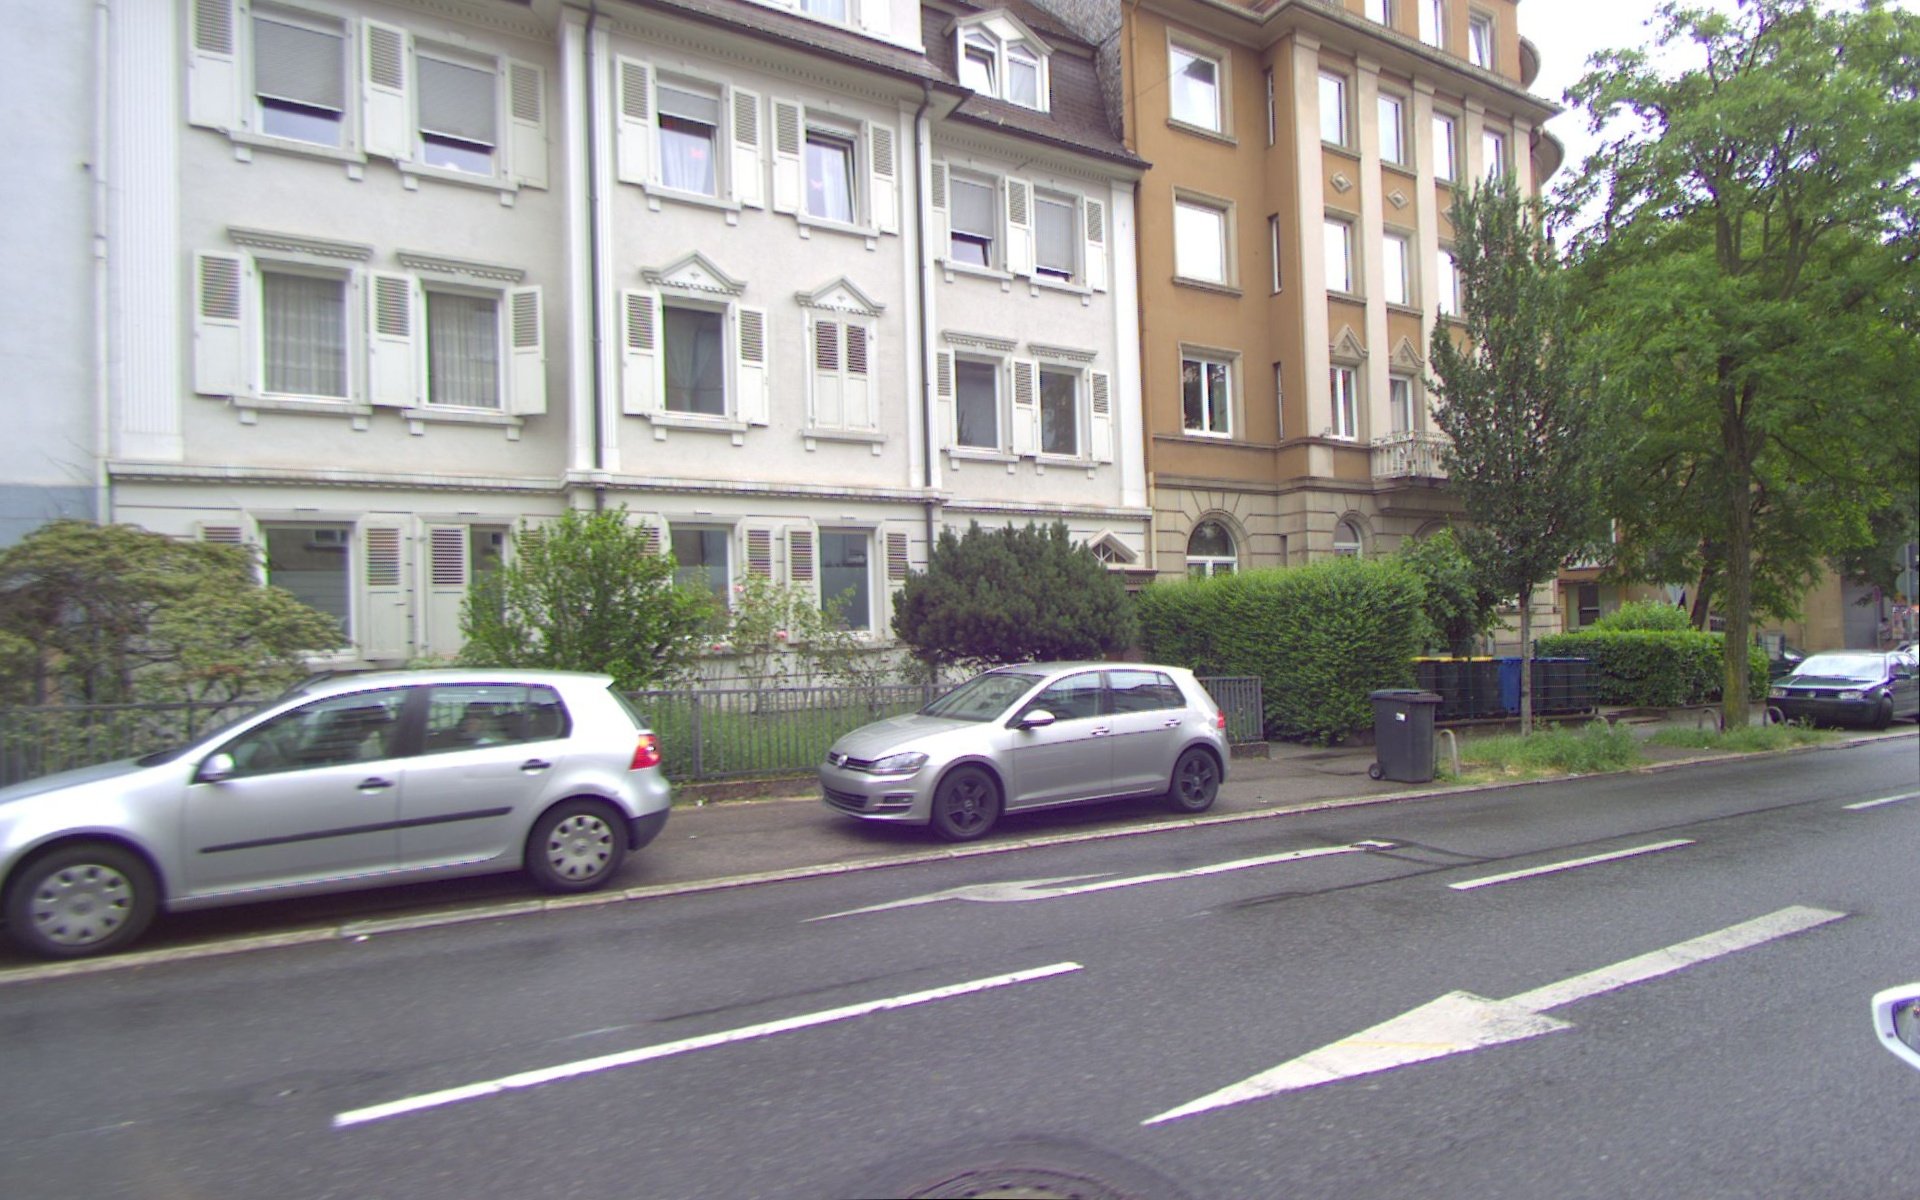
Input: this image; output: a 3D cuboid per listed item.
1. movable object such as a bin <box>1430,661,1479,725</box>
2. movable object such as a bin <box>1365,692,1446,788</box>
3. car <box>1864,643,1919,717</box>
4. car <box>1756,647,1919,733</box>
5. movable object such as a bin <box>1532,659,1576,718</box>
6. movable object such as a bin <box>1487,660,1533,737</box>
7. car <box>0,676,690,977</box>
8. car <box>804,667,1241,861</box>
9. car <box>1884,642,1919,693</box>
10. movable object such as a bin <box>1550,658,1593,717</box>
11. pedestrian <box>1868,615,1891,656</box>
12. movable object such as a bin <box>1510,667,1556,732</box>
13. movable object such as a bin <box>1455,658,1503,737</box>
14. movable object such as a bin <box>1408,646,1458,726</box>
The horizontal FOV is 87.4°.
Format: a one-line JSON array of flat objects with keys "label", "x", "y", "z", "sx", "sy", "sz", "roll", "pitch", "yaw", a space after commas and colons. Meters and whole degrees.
[{"label": "movable object such as a bin", "x": 8.453, "y": 1.581, "z": 17.173, "sx": 0.642, "sy": 1.053, "sz": 0.437, "roll": 1, "pitch": -3, "yaw": -31}, {"label": "movable object such as a bin", "x": 5.256, "y": 1.635, "z": 11.873, "sx": 0.593, "sy": 1.071, "sz": 0.627, "roll": 2, "pitch": -4, "yaw": -30}, {"label": "car", "x": 21.005, "y": 1.661, "z": 21.472, "sx": 3.800, "sy": 1.473, "sz": 1.622, "roll": 1, "pitch": -3, "yaw": -34}, {"label": "car", "x": 17.135, "y": 1.663, "z": 19.307, "sx": 3.899, "sy": 1.473, "sz": 1.645, "roll": 1, "pitch": -3, "yaw": -32}, {"label": "movable object such as a bin", "x": 11.084, "y": 1.642, "z": 18.744, "sx": 0.643, "sy": 1.054, "sz": 0.424, "roll": 1, "pitch": -3, "yaw": -31}, {"label": "movable object such as a bin", "x": 9.844, "y": 1.748, "z": 17.973, "sx": 0.602, "sy": 1.325, "sz": 0.437, "roll": 1, "pitch": -3, "yaw": -31}, {"label": "car", "x": -3.958, "y": 1.295, "z": 6.755, "sx": 3.862, "sy": 1.408, "sz": 1.675, "roll": 1, "pitch": -2, "yaw": -30}, {"label": "car", "x": 0.645, "y": 1.392, "z": 9.541, "sx": 3.889, "sy": 1.408, "sz": 1.675, "roll": 1, "pitch": -2, "yaw": -30}, {"label": "car", "x": 27.734, "y": 1.851, "z": 27.117, "sx": 1.722, "sy": 1.408, "sz": 3.798, "roll": 2, "pitch": -3, "yaw": -30}, {"label": "movable object such as a bin", "x": 11.643, "y": 1.649, "z": 19.124, "sx": 0.583, "sy": 1.095, "sz": 0.437, "roll": 1, "pitch": -3, "yaw": -31}, {"label": "pedestrian", "x": 42.371, "y": 1.642, "z": 46.282, "sx": 0.627, "sy": 1.840, "sz": 0.633, "roll": -3, "pitch": -2, "yaw": 36}, {"label": "movable object such as a bin", "x": 10.462, "y": 1.798, "z": 18.354, "sx": 0.650, "sy": 1.145, "sz": 0.437, "roll": 1, "pitch": -3, "yaw": -31}, {"label": "movable object such as a bin", "x": 9.065, "y": 1.690, "z": 17.537, "sx": 0.642, "sy": 1.325, "sz": 0.437, "roll": 1, "pitch": -3, "yaw": -31}, {"label": "movable object such as a bin", "x": 7.983, "y": 1.442, "z": 16.961, "sx": 0.642, "sy": 1.316, "sz": 0.437, "roll": 1, "pitch": -3, "yaw": -31}]
